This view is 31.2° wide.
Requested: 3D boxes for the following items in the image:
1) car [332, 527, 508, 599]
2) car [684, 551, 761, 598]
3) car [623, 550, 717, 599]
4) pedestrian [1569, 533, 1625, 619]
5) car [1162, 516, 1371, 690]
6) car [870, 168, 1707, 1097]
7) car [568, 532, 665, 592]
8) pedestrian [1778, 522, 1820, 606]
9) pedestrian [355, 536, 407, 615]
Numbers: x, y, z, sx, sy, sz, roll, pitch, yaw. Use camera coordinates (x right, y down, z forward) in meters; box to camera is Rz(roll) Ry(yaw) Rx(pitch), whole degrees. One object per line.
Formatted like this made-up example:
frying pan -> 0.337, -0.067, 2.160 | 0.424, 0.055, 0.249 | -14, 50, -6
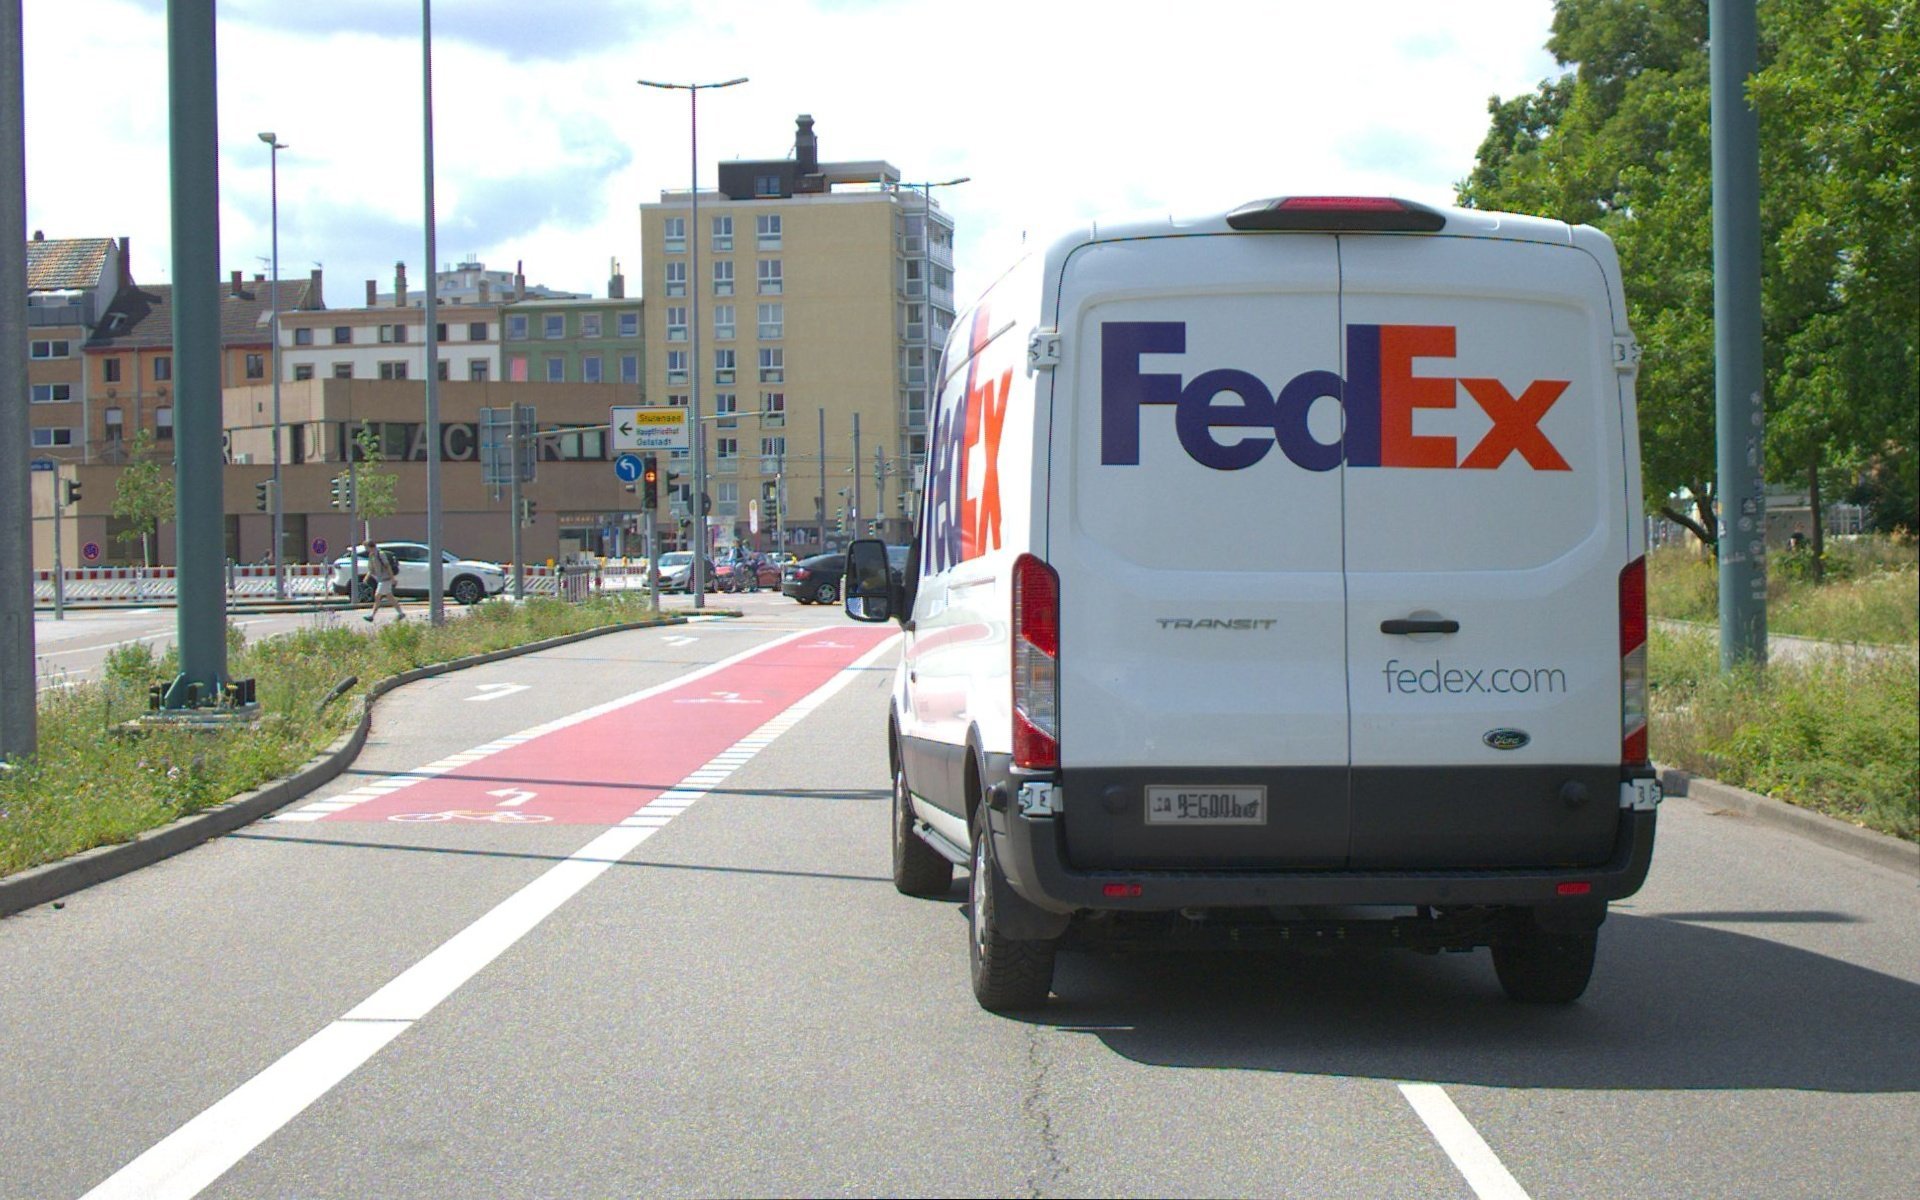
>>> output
car -> -14.017, -0.956, 89.399 | 4.356, 1.787, 2.000 | -1, 0, -4
car -> -8.377, -0.900, 121.597 | 1.879, 1.646, 3.999 | -1, 0, 8
car -> -9.715, -0.856, 115.419 | 1.902, 1.579, 3.997 | -1, 0, 14
pedestrian -> 11.409, -0.435, 61.592 | 0.845, 1.533, 0.835 | 0, 1, 0
car -> 3.208, -0.011, 36.727 | 1.812, 1.728, 4.389 | 0, 1, 0
car -> 0.881, 0.034, 12.712 | 2.140, 2.643, 5.705 | -1, 1, -4
car -> -11.637, -1.278, 116.760 | 1.995, 2.007, 3.997 | -1, 0, 15
pedestrian -> 20.736, -0.889, 84.934 | 0.846, 2.051, 0.740 | 0, 1, 28
pedestrian -> -11.552, -0.496, 68.625 | 0.873, 1.554, 0.555 | -1, 1, -28
